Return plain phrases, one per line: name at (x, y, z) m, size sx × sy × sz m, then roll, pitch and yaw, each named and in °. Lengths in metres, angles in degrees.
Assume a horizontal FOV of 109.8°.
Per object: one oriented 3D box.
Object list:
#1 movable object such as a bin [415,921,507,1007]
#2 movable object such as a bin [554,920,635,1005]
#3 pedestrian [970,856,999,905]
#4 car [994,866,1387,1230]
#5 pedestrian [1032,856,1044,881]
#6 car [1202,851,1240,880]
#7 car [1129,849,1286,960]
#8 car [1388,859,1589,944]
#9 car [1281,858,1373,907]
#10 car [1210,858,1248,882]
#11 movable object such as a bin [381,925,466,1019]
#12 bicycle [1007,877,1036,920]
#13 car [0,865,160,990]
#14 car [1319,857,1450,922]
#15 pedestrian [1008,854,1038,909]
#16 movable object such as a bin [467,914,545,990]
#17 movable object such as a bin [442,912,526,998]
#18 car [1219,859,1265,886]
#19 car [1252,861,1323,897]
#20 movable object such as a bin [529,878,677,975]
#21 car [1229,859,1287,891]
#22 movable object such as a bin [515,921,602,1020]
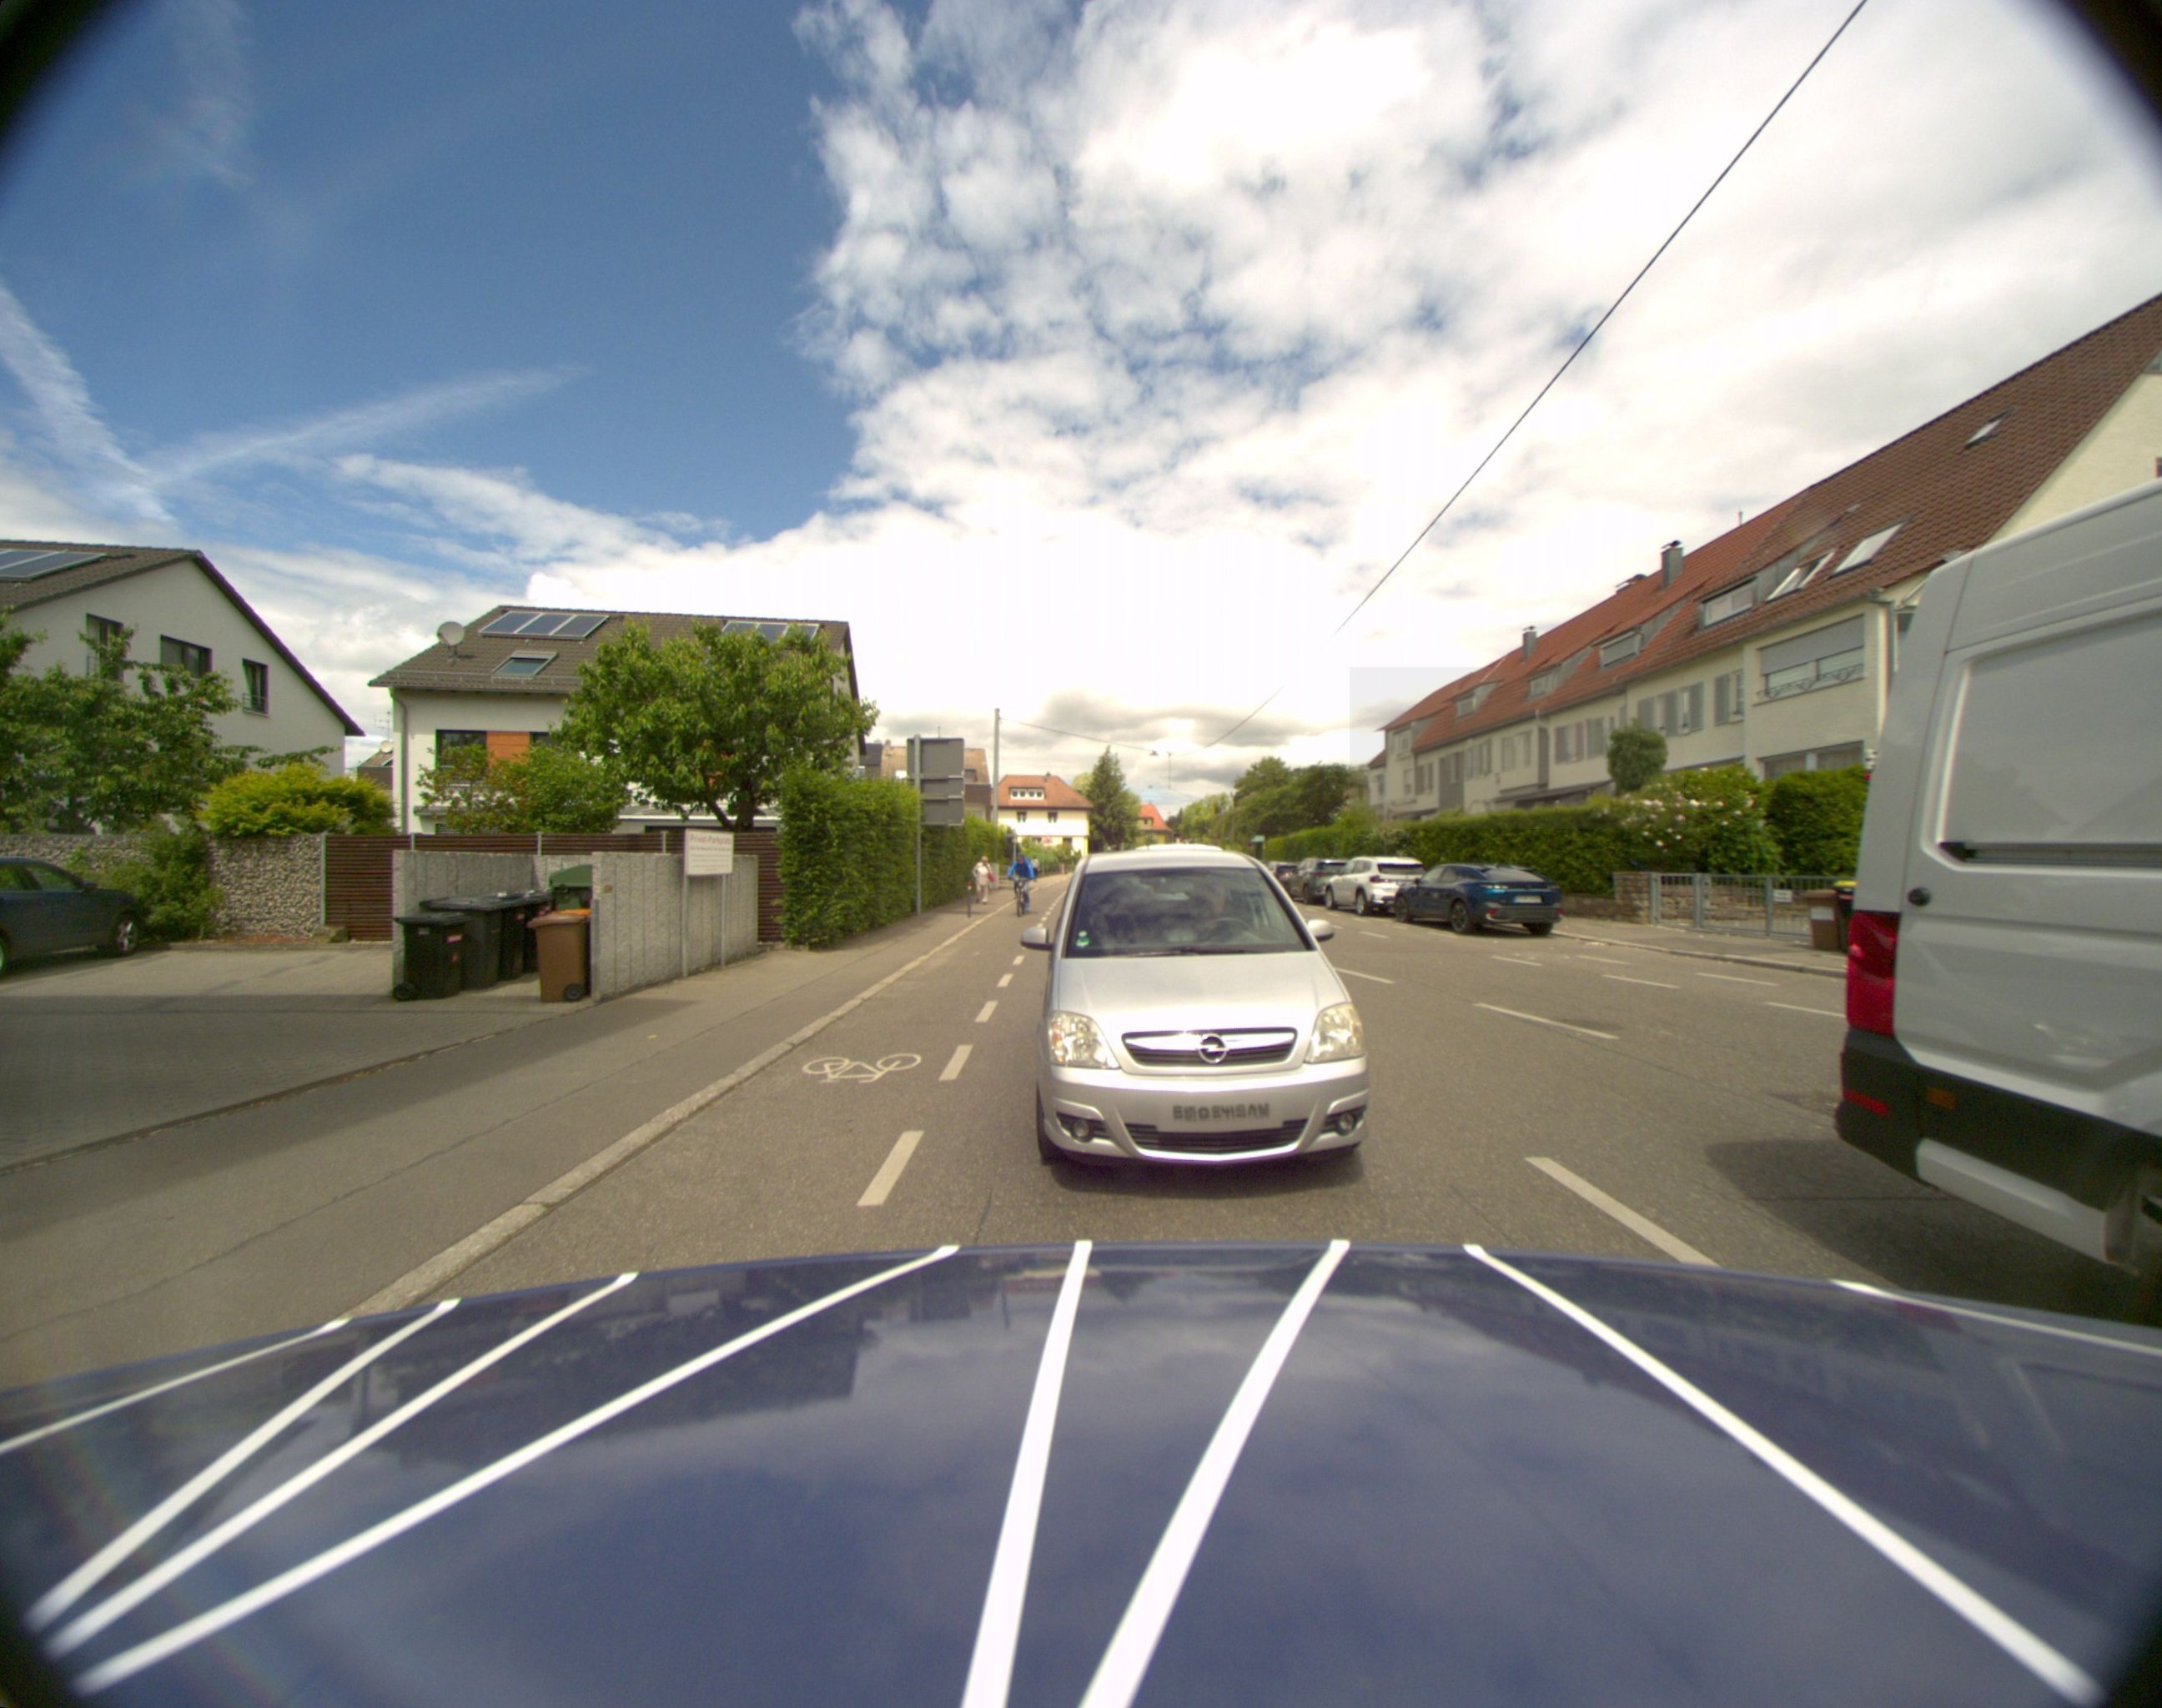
movable object such as a bin at (-7.136, 1.254, 8.770) m, size 0.635 × 0.887 × 0.539 m, roll -1°, pitch 1°, yaw -16°
movable object such as a bin at (-5.717, 1.261, 8.956) m, size 0.533 × 0.887 × 0.679 m, roll -1°, pitch 0°, yaw -5°
pedestrian at (-3.200, 0.875, 25.227) m, size 0.800 × 1.608 × 0.653 m, roll 1°, pitch 1°, yaw 2°
car at (0.641, 0.915, 5.563) m, size 1.707 × 1.531 × 4.332 m, roll -2°, pitch 0°, yaw 4°
pedestrian at (-2.754, 0.926, 48.571) m, size 0.604 × 1.596 × 0.836 m, roll 2°, pitch 1°, yaw 2°
car at (9.899, 0.750, 54.143) m, size 1.998 × 1.884 × 5.405 m, roll 2°, pitch 0°, yaw 4°
car at (2.184, 0.798, 14.319) m, size 1.781 × 1.760 × 4.186 m, roll -1°, pitch 0°, yaw -7°
car at (8.730, 0.930, 16.821) m, size 1.999 × 1.578 × 4.488 m, roll 0°, pitch 0°, yaw -1°
car at (8.669, 0.950, 27.257) m, size 1.998 × 1.555 × 4.690 m, roll 0°, pitch 0°, yaw 3°
car at (9.460, 0.983, 48.841) m, size 1.782 × 1.409 × 4.340 m, roll 0°, pitch 0°, yaw 3°
movable object such as a bin at (-7.080, 1.255, 8.205) m, size 0.494 × 0.907 × 0.539 m, roll -1°, pitch 1°, yaw -16°
bicycle at (-1.641, 1.214, 21.199) m, size 0.536 × 1.039 × 2.409 m, roll -1°, pitch 0°, yaw 2°
car at (-14.688, 0.939, 10.001) m, size 1.790 × 1.527 × 3.789 m, roll 0°, pitch 0°, yaw -25°
car at (8.513, 0.912, 21.792) m, size 1.998 × 1.641 × 4.517 m, roll 0°, pitch 0°, yaw 1°
pedestrian at (-1.614, 0.750, 21.230) m, size 0.736 × 1.508 × 0.872 m, roll -1°, pitch 1°, yaw 1°
movable object such as a bin at (-7.423, 1.256, 9.836) m, size 0.635 × 0.887 × 0.539 m, roll -1°, pitch 1°, yaw -16°
movable object such as a bin at (-7.287, 1.219, 9.302) m, size 0.629 × 0.962 × 0.539 m, roll -1°, pitch 1°, yaw -16°
car at (9.152, 1.034, 43.545) m, size 1.782 × 1.409 × 4.440 m, roll 0°, pitch 0°, yaw 2°
car at (8.772, 1.023, 32.676) m, size 1.998 × 1.400 × 4.690 m, roll 0°, pitch 0°, yaw 3°
movable object such as a bin at (-6.926, 1.014, 11.125) m, size 1.192 × 1.255 × 1.535 m, roll -1°, pitch 0°, yaw -2°
car at (8.821, 1.009, 38.287) m, size 1.782 × 1.483 × 4.565 m, roll 0°, pitch 0°, yaw -1°
movable object such as a bin at (-5.612, 1.233, 8.195) m, size 0.534 × 0.945 × 0.686 m, roll -1°, pitch 0°, yaw -13°
